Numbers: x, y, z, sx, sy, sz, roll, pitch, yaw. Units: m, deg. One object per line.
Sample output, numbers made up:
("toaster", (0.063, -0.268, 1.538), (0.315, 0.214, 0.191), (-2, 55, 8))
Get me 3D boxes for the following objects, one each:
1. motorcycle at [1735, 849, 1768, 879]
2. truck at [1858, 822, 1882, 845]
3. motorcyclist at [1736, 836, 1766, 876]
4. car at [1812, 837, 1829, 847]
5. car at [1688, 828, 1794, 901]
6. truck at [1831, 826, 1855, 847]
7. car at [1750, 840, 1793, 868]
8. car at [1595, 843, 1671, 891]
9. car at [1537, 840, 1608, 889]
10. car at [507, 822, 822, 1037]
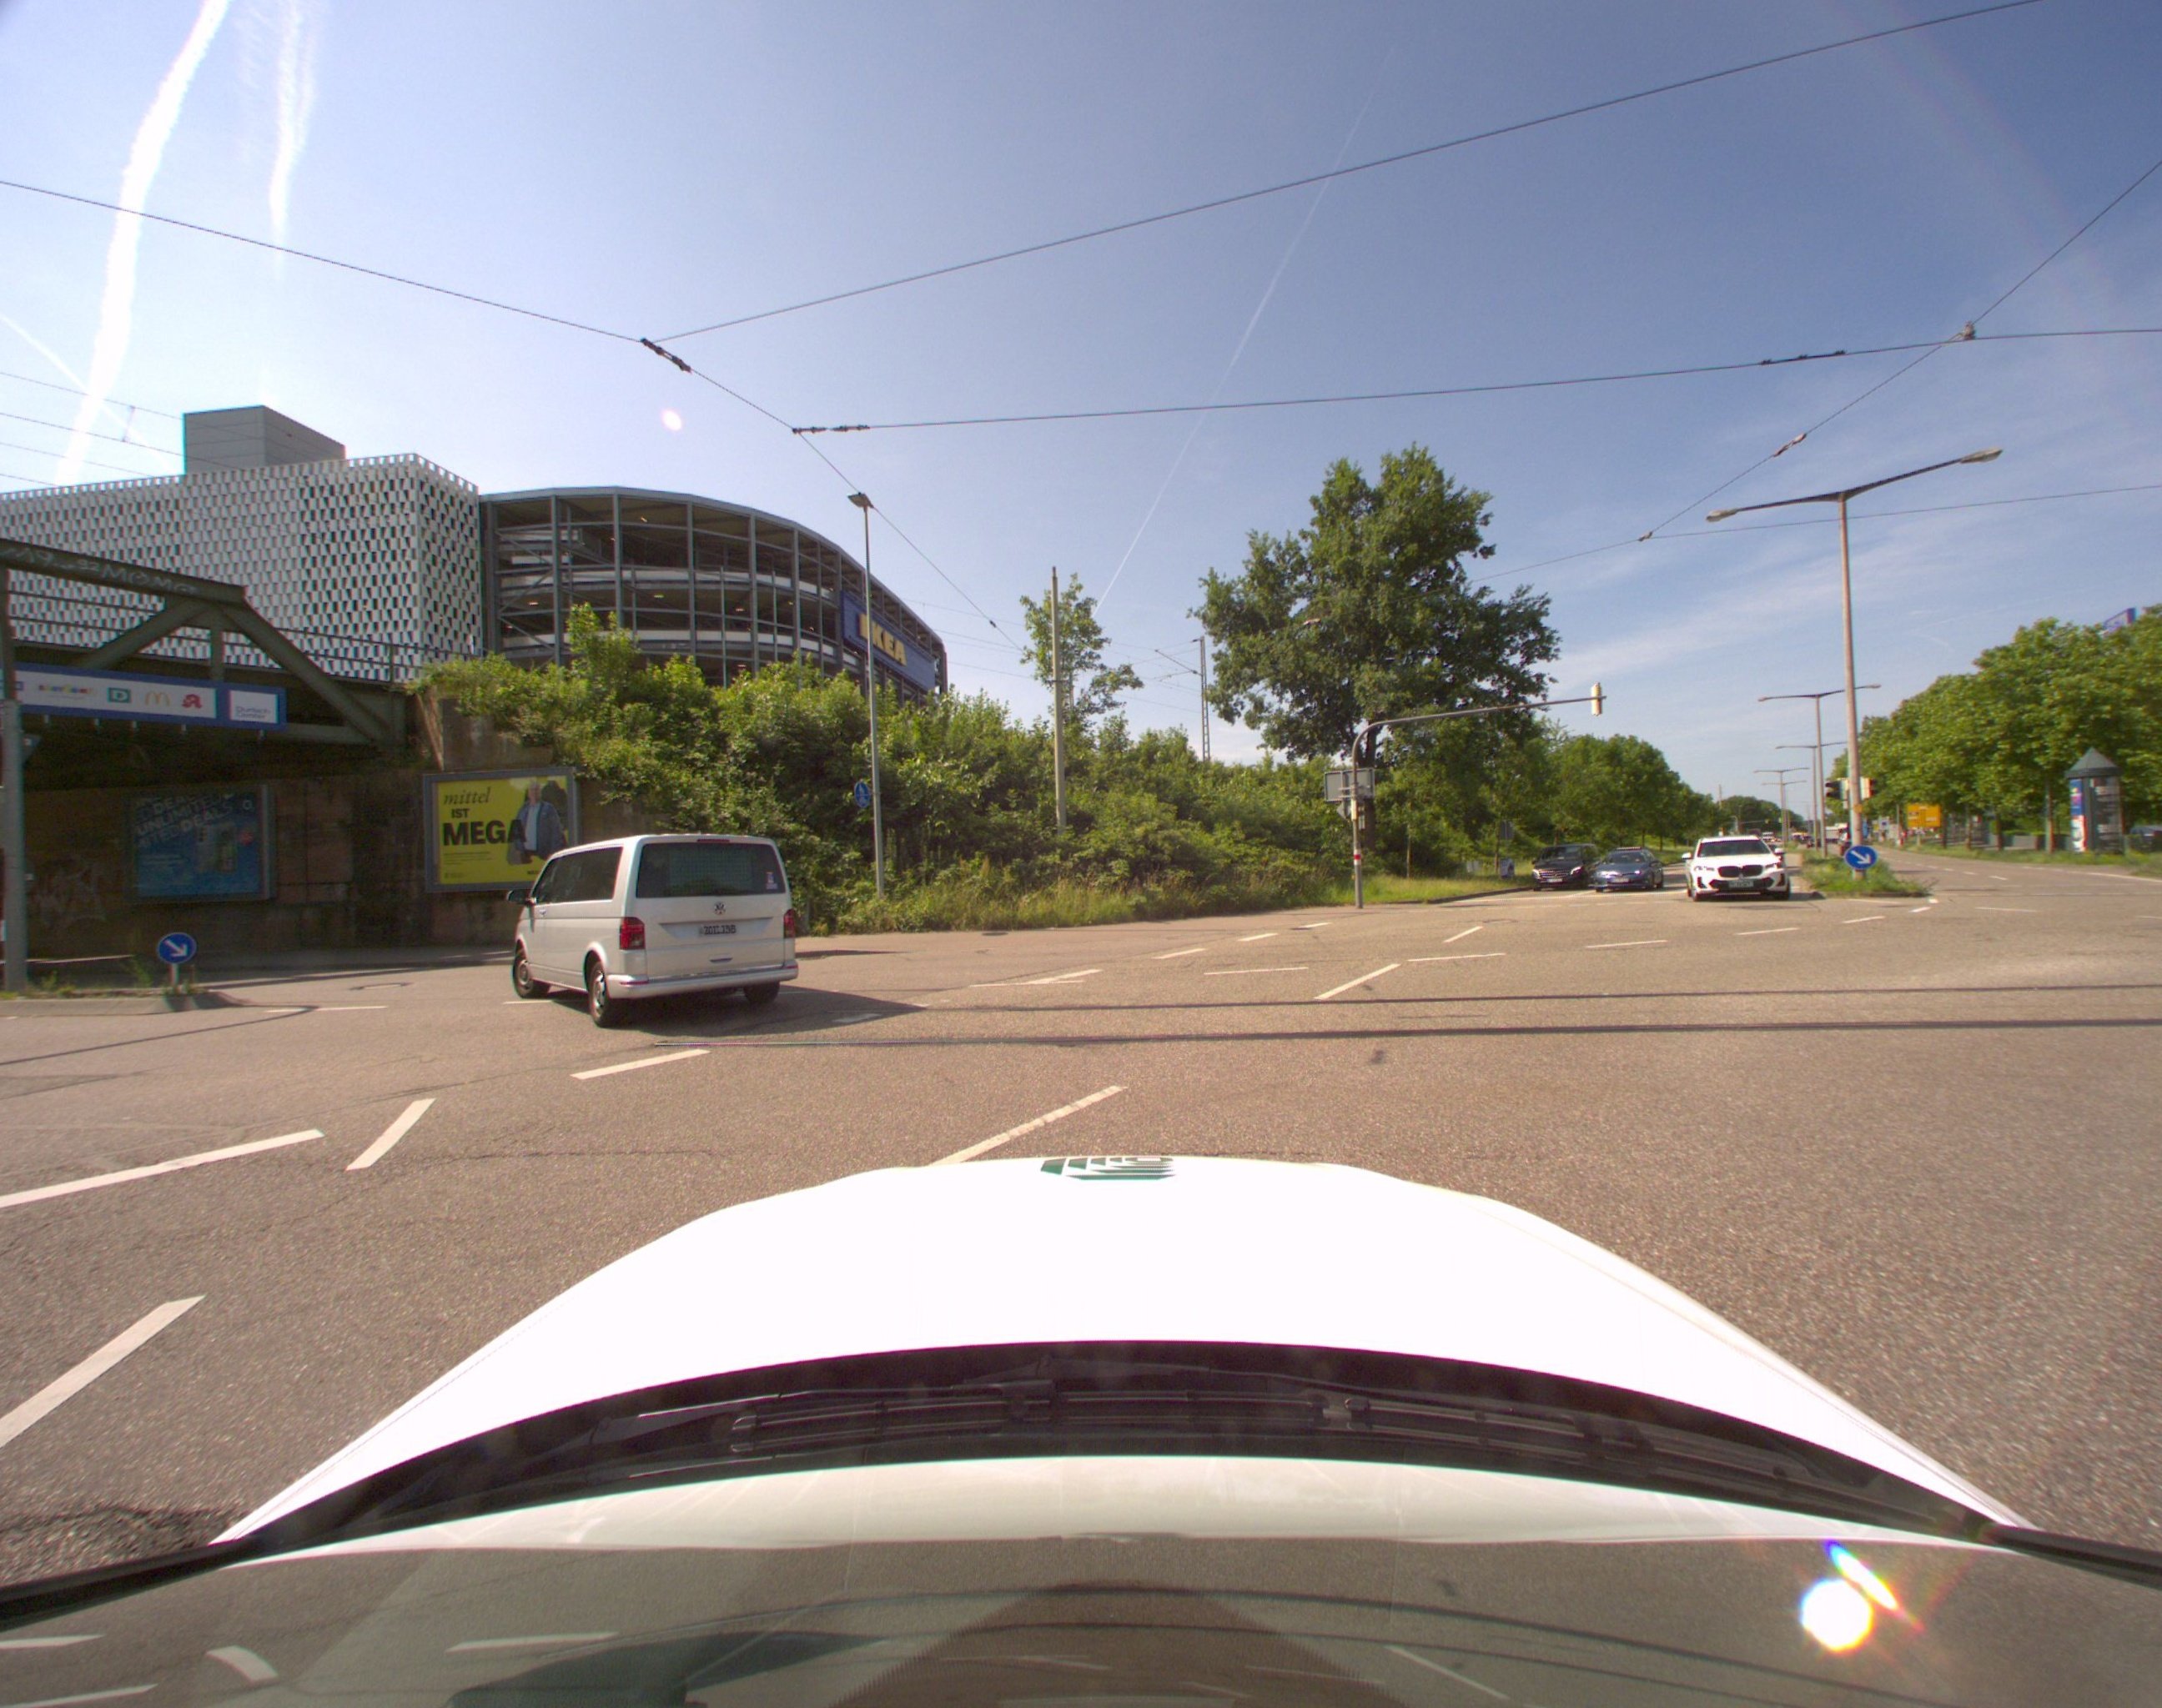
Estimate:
("motorcycle", (25.465, 0.373, 30.921), (0.728, 1.083, 2.055), (-5, -3, 45))
("truck", (159.722, -4.213, 164.840), (3.161, 4.355, 13.224), (-3, -1, 45))
("motorcyclist", (25.473, 0.068, 30.954), (0.728, 1.447, 0.878), (-5, -3, 45))
("car", (104.293, -1.725, 114.841), (1.732, 1.344, 4.405), (-3, -1, 42))
("car", (17.218, 0.249, 21.257), (1.891, 1.689, 4.656), (-3, -1, 39))
("truck", (139.525, -3.187, 149.167), (2.815, 3.577, 8.771), (-3, -1, 45))
("car", (39.227, -0.009, 46.216), (1.698, 1.379, 4.500), (-5, -2, 42))
("car", (19.792, 0.436, 29.122), (1.832, 1.561, 4.025), (-3, -1, 39))
("car", (19.885, 0.388, 32.886), (1.832, 1.815, 4.025), (-3, -1, 39))
("car", (-5.281, 0.757, 9.920), (1.959, 1.971, 4.959), (-1, -1, -45))
